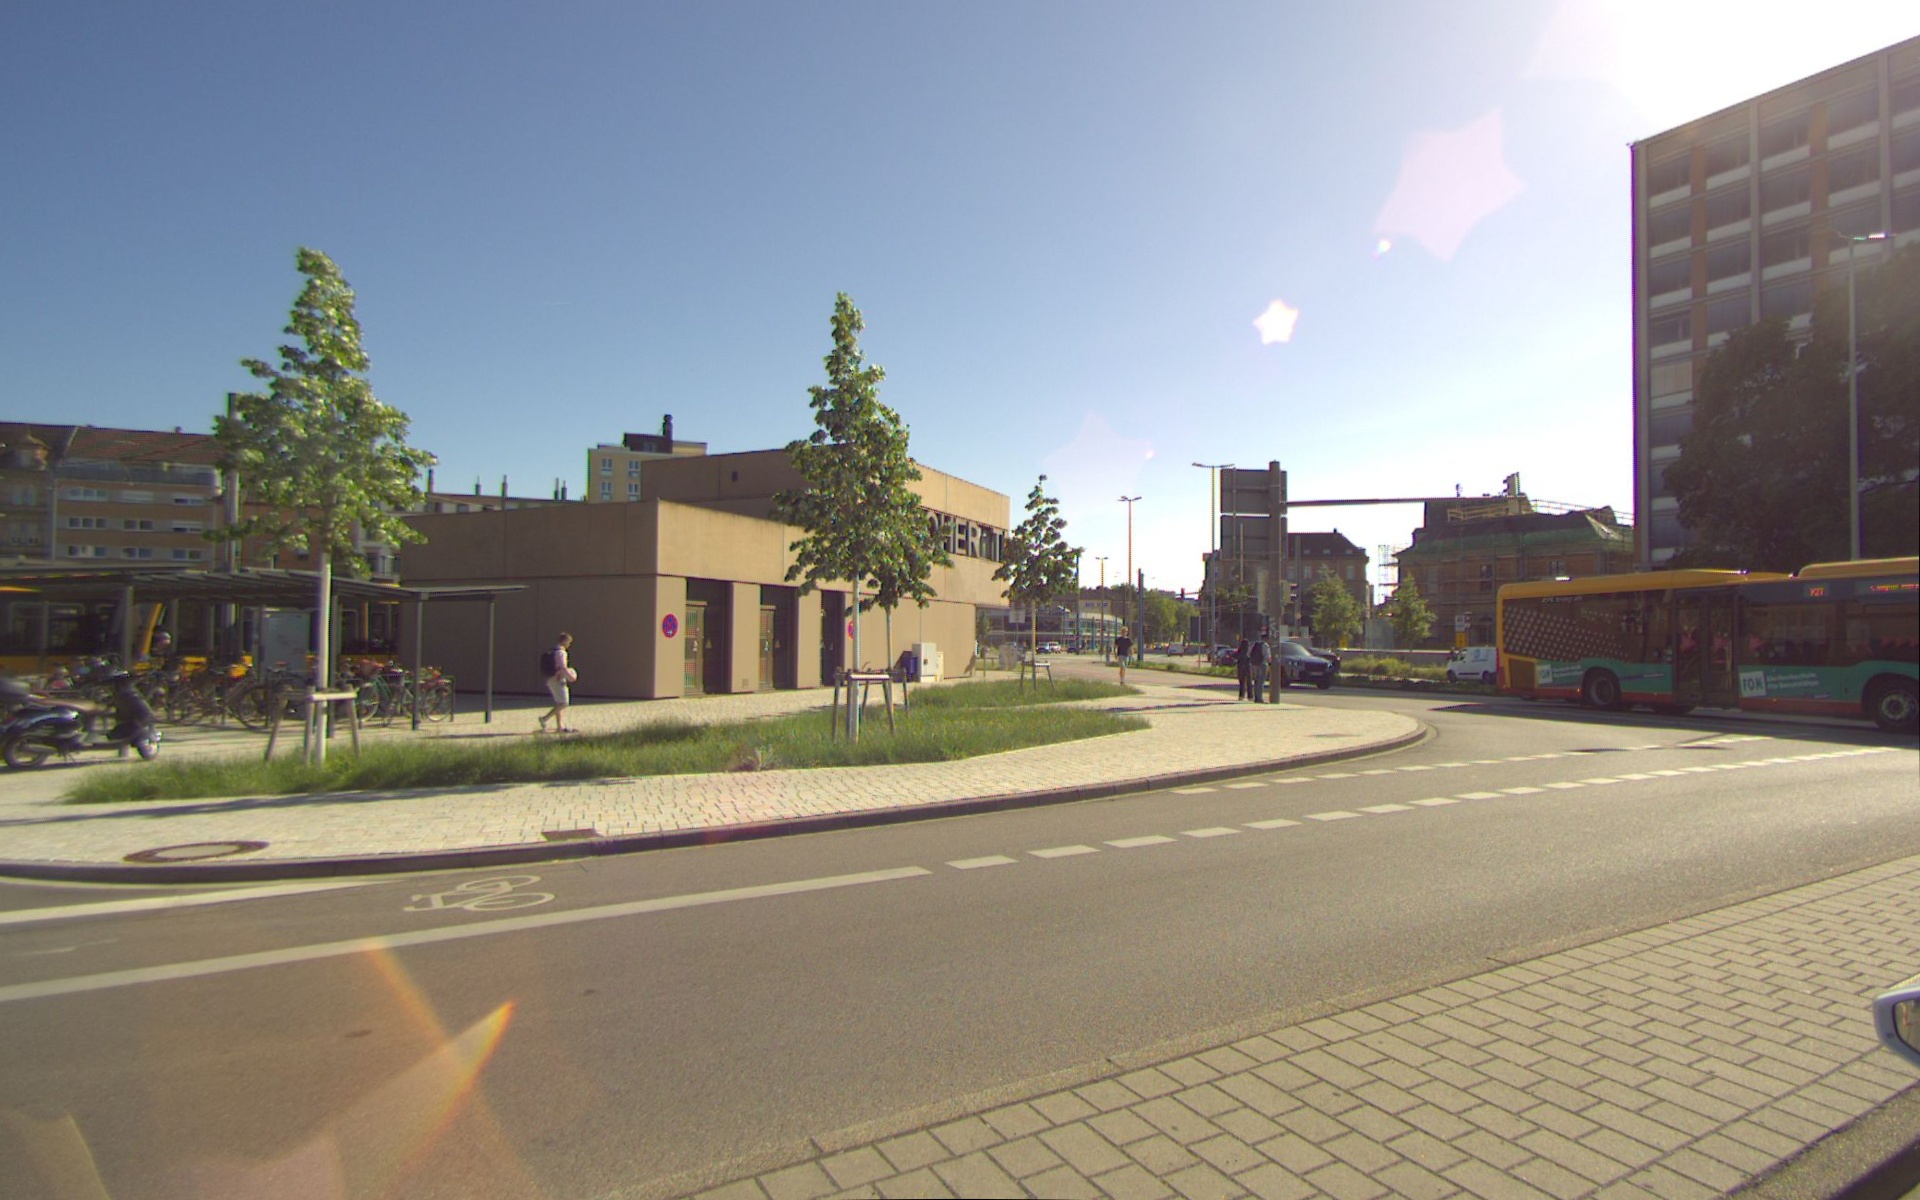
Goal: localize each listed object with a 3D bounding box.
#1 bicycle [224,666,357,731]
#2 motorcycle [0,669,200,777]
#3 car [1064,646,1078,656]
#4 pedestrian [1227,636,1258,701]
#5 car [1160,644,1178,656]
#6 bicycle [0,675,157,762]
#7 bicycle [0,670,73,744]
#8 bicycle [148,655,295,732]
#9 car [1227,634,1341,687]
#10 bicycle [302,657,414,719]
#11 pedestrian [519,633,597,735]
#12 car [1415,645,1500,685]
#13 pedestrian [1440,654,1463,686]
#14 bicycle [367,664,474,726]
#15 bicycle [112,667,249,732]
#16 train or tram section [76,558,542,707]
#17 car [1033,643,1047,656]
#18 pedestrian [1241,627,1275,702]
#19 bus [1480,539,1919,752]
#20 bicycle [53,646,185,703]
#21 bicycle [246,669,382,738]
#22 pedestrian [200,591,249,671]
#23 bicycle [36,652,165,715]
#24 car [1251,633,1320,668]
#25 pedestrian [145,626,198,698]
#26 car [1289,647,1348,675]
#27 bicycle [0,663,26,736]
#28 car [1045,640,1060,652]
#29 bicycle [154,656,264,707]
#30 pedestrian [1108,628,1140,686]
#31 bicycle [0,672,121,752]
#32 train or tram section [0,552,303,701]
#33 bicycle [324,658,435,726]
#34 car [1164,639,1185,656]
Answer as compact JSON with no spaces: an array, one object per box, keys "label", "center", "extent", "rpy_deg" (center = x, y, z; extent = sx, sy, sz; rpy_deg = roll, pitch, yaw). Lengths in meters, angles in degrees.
[{"label":"bicycle","center":[-11.625,1.684,17.499],"extent":[0.492,1.010,1.887],"rpy_deg":[0,-2,31]},{"label":"motorcycle","center":[-10.930,1.482,12.475],"extent":[0.599,1.173,2.360],"rpy_deg":[0,-2,25]},{"label":"car","center":[16.349,7.508,147.888],"extent":[1.959,1.407,4.004],"rpy_deg":[0,-3,7]},{"label":"pedestrian","center":[7.593,1.844,27.010],"extent":[0.594,1.719,0.634],"rpy_deg":[1,-2,-7]},{"label":"car","center":[32.890,7.813,158.050],"extent":[1.960,1.603,4.001],"rpy_deg":[2,0,2]},{"label":"bicycle","center":[-12.048,1.562,13.520],"extent":[0.617,1.021,1.829],"rpy_deg":[0,-2,25]},{"label":"bicycle","center":[-14.115,1.553,14.512],"extent":[0.617,1.021,1.829],"rpy_deg":[0,-2,25]},{"label":"bicycle","center":[-12.899,1.603,17.628],"extent":[0.496,1.225,2.051],"rpy_deg":[0,-2,26]},{"label":"car","center":[12.300,2.255,38.491],"extent":[1.971,1.885,4.729],"rpy_deg":[1,-2,-14]},{"label":"bicycle","center":[-11.756,1.691,19.688],"extent":[0.617,1.107,1.829],"rpy_deg":[0,-2,25]},{"label":"pedestrian","center":[-7.065,1.450,17.663],"extent":[0.827,1.727,1.018],"rpy_deg":[-1,-2,44]},{"label":"car","center":[27.059,3.506,54.842],"extent":[2.032,2.040,5.015],"rpy_deg":[1,-2,-2]},{"label":"pedestrian","center":[31.395,4.451,64.200],"extent":[0.985,2.040,0.862],"rpy_deg":[1,-2,-8]},{"label":"bicycle","center":[-9.833,1.714,18.383],"extent":[0.616,1.021,1.832],"rpy_deg":[0,-2,16]},{"label":"bicycle","center":[-13.875,1.745,17.937],"extent":[0.617,1.021,1.828],"rpy_deg":[0,-2,27]},{"label":"train or tram section","center":[-18.736,1.019,30.692],"extent":[2.702,3.648,12.318],"rpy_deg":[0,-2,25]},{"label":"car","center":[11.113,6.888,139.883],"extent":[1.960,1.814,4.002],"rpy_deg":[0,-2,4]},{"label":"pedestrian","center":[7.606,1.633,25.656],"extent":[0.594,1.880,0.681],"rpy_deg":[1,-2,-7]},{"label":"bus","center":[16.940,0.915,21.227],"extent":[3.195,3.617,12.430],"rpy_deg":[1,-2,-14]},{"label":"bicycle","center":[-16.003,1.396,19.165],"extent":[0.617,1.021,1.828],"rpy_deg":[0,-2,27]},{"label":"bicycle","center":[-10.682,1.683,16.682],"extent":[0.617,1.021,1.828],"rpy_deg":[0,-2,27]},{"label":"pedestrian","center":[-17.589,0.745,24.037],"extent":[0.738,1.880,0.709],"rpy_deg":[1,-2,-19]},{"label":"bicycle","center":[-16.921,1.614,19.828],"extent":[0.617,1.146,1.828],"rpy_deg":[0,-2,27]},{"label":"car","center":[25.709,3.956,79.689],"extent":[2.955,2.580,6.956],"rpy_deg":[1,-2,-3]},{"label":"pedestrian","center":[-18.654,1.451,23.773],"extent":[0.593,1.681,0.772],"rpy_deg":[0,-2,23]},{"label":"car","center":[21.242,3.599,59.708],"extent":[1.962,1.538,3.818],"rpy_deg":[1,-2,-4]},{"label":"bicycle","center":[-15.282,1.520,15.011],"extent":[0.617,1.094,1.829],"rpy_deg":[0,-2,25]},{"label":"car","center":[13.504,6.740,146.679],"extent":[1.865,1.728,4.003],"rpy_deg":[0,-2,11]},{"label":"bicycle","center":[-16.268,1.738,21.802],"extent":[0.617,1.021,1.829],"rpy_deg":[0,-2,25]},{"label":"pedestrian","center":[5.358,1.865,32.903],"extent":[0.826,1.869,0.866],"rpy_deg":[1,-2,-7]},{"label":"bicycle","center":[-13.131,1.561,14.071],"extent":[0.617,1.021,2.026],"rpy_deg":[0,-2,25]},{"label":"train or tram section","center":[-24.221,0.690,26.128],"extent":[2.779,3.648,12.320],"rpy_deg":[0,-2,24]},{"label":"bicycle","center":[-10.753,1.680,18.682],"extent":[0.616,1.161,1.831],"rpy_deg":[0,-2,18]},{"label":"car","center":[28.255,6.236,132.582],"extent":[2.024,2.040,4.001],"rpy_deg":[2,0,2]}]
